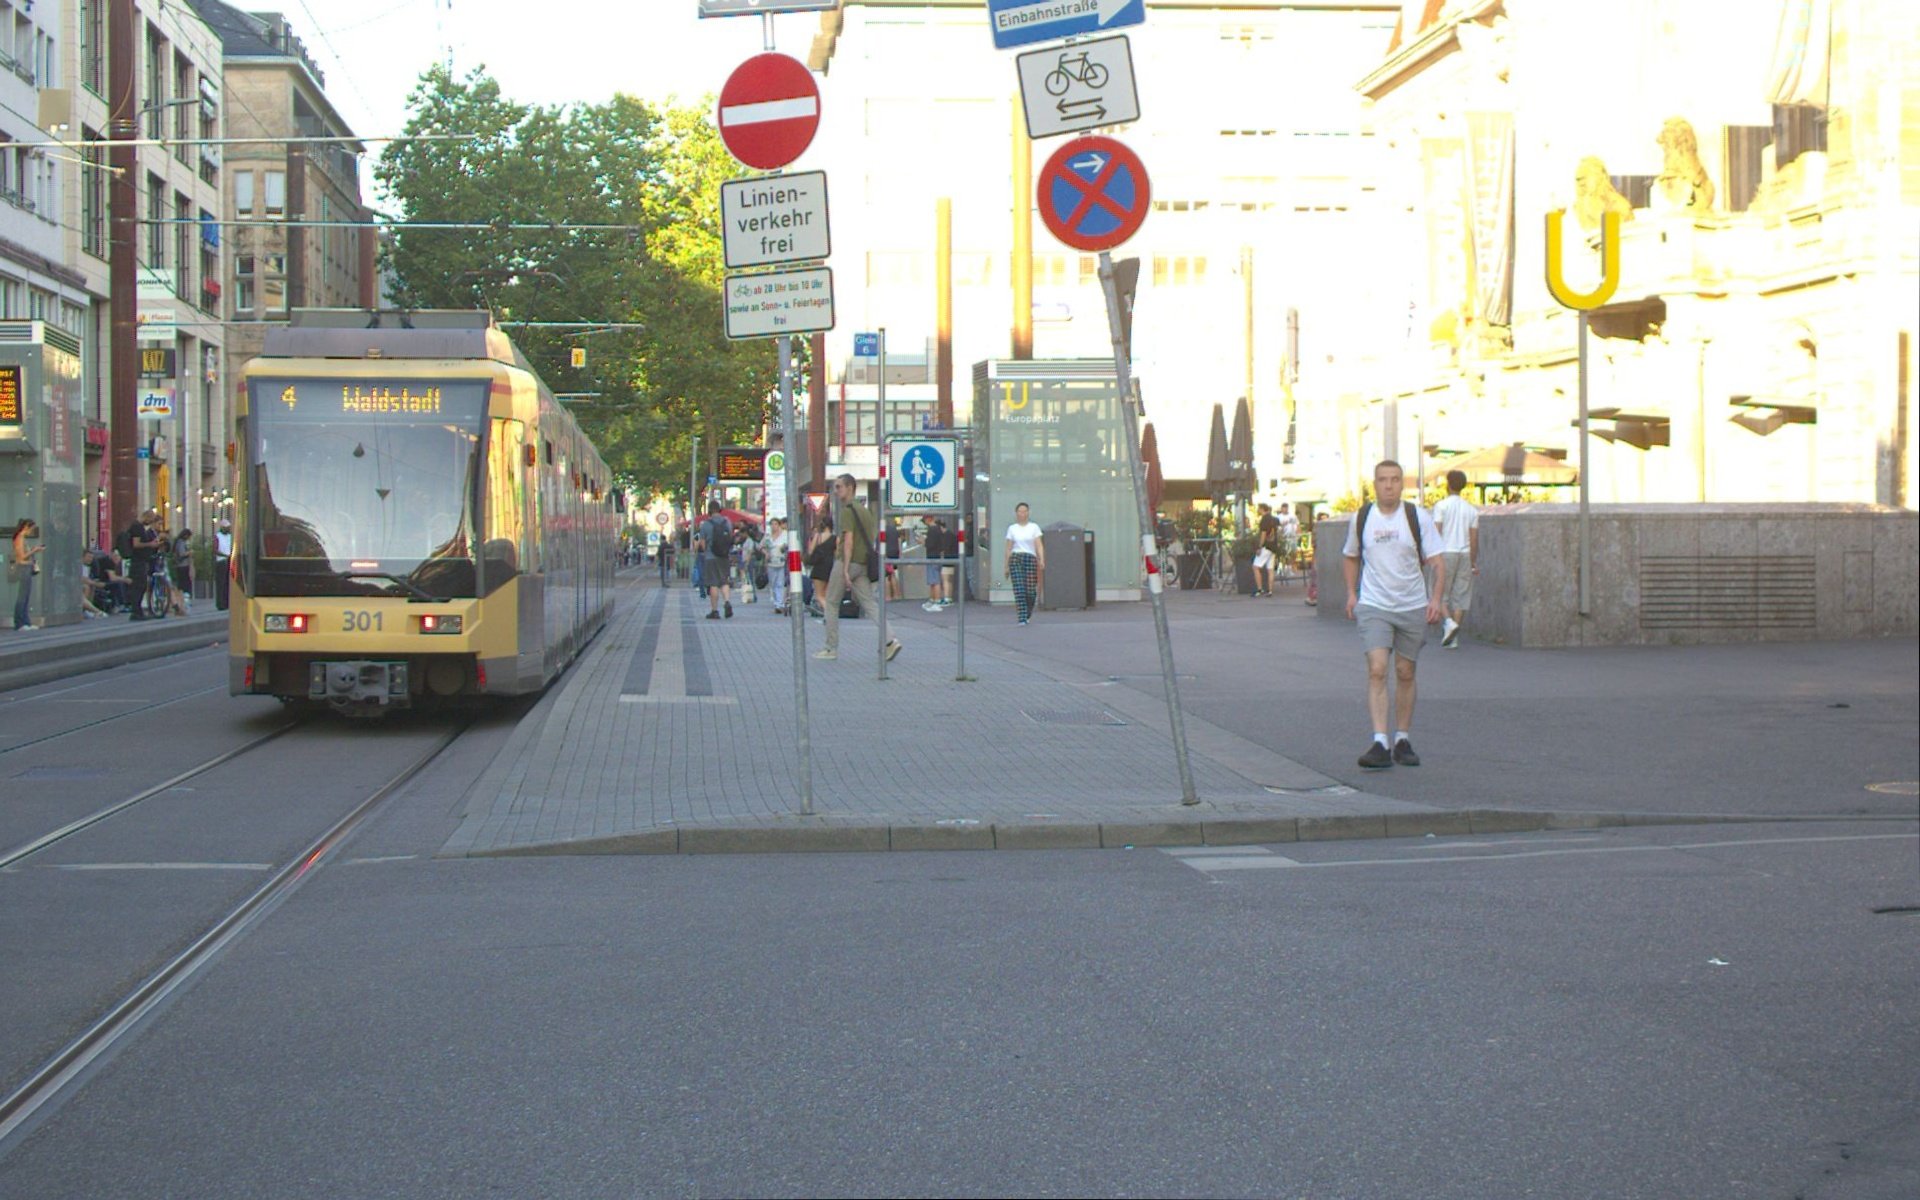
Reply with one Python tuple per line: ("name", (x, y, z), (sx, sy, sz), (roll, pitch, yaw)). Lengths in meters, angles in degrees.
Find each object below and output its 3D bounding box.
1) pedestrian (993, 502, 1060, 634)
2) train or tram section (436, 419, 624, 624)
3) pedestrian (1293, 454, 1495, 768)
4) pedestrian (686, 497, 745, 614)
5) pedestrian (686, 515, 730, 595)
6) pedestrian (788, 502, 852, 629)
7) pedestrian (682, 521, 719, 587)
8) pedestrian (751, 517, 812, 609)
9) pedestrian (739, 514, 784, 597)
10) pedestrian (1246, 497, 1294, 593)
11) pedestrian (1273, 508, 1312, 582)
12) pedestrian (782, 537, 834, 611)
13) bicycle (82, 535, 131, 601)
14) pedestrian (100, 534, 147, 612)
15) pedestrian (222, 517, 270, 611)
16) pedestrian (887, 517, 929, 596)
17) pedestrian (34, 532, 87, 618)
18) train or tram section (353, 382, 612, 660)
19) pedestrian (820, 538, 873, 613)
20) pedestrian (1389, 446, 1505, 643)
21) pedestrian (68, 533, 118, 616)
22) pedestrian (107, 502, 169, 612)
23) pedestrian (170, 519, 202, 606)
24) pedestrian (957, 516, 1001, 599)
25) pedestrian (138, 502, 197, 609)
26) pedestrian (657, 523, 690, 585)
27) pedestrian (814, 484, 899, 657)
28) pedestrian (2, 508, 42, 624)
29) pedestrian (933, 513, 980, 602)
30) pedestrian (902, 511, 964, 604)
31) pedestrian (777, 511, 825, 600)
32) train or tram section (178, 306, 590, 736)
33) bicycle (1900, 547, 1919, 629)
("pedestrian", (0.940, -0.457, 48.582), (0.773, 1.817, 0.940), (-2, 1, -8))
("train or tram section", (-7.638, -1.432, 62.739), (2.800, 3.308, 14.511), (0, 1, -5))
("pedestrian", (2.633, 0.061, 20.956), (1.013, 1.857, 1.043), (1, 1, -4))
("pedestrian", (-3.837, -0.704, 53.854), (0.733, 1.817, 0.820), (0, 1, -19))
("pedestrian", (-5.283, -0.950, 72.039), (0.767, 1.655, 0.794), (0, 1, 8))
("pedestrian", (-2.028, -0.508, 49.727), (0.733, 1.817, 0.820), (0, 1, -19))
("pedestrian", (-6.547, -1.158, 86.613), (0.792, 1.655, 0.769), (0, 1, 7))
("pedestrian", (-3.080, -0.648, 59.441), (0.768, 1.573, 0.794), (1, 1, 25))
("pedestrian", (-3.991, -0.903, 69.132), (0.792, 1.655, 0.769), (0, 1, 7))
("pedestrian", (5.916, -1.047, 65.680), (0.847, 1.817, 0.775), (0, 1, 0))
("pedestrian", (8.192, -1.354, 84.672), (0.773, 1.818, 0.850), (0, 1, -7))
("pedestrian", (-2.531, -0.430, 57.093), (0.792, 1.217, 0.769), (0, 1, -8))
("bicycle", (-14.912, -0.564, 60.015), (0.433, 1.138, 1.618), (-1, 1, -28))
("pedestrian", (-14.811, -0.477, 60.900), (0.707, 1.374, 0.720), (0, 0, -5))
("pedestrian", (-13.168, -0.666, 63.426), (0.773, 1.719, 0.709), (0, 0, -5))
("pedestrian", (-1.091, -0.915, 72.350), (0.792, 1.655, 0.769), (0, 1, 7))
("pedestrian", (-14.519, -0.404, 55.498), (0.707, 1.374, 0.720), (0, 0, -5))
("train or tram section", (-6.429, -1.112, 48.289), (2.800, 3.308, 14.511), (0, 1, -5))
("pedestrian", (-1.866, -0.413, 56.333), (0.792, 1.217, 0.769), (0, 1, -8))
("pedestrian", (5.048, -0.575, 35.665), (0.770, 2.007, 0.917), (0, 1, -31))
("pedestrian", (-14.524, -0.431, 57.604), (0.707, 1.374, 0.720), (0, 0, -5))
("pedestrian", (-12.942, -0.671, 54.102), (0.707, 1.719, 0.775), (0, 0, -35))
("pedestrian", (-15.493, -0.746, 68.846), (0.600, 1.721, 0.608), (0, 0, -11))
("pedestrian", (0.374, -0.849, 68.403), (0.792, 1.655, 0.769), (0, 1, 7))
("pedestrian", (-12.886, -0.717, 55.883), (0.707, 1.719, 0.775), (0, 0, -33))
("pedestrian", (-7.674, -1.239, 92.048), (0.767, 1.655, 0.795), (0, 1, 5))
("pedestrian", (-1.045, -0.298, 34.674), (0.718, 1.719, 0.710), (0, 0, -13))
("pedestrian", (-13.126, -0.476, 48.124), (0.511, 1.612, 0.505), (0, 0, -13))
("pedestrian", (-0.063, -0.806, 64.747), (0.792, 1.655, 0.769), (0, 1, 7))
("pedestrian", (-0.485, -0.768, 61.510), (0.794, 1.655, 0.767), (1, 2, 45))
("pedestrian", (-2.975, -0.831, 64.400), (0.792, 1.655, 0.769), (0, 1, 7))
("train or tram section", (-5.226, -0.776, 33.828), (2.800, 3.308, 14.511), (0, 1, -5))
("bicycle", (10.370, -0.130, 36.665), (0.315, 0.864, 1.000), (-1, 1, -6))
